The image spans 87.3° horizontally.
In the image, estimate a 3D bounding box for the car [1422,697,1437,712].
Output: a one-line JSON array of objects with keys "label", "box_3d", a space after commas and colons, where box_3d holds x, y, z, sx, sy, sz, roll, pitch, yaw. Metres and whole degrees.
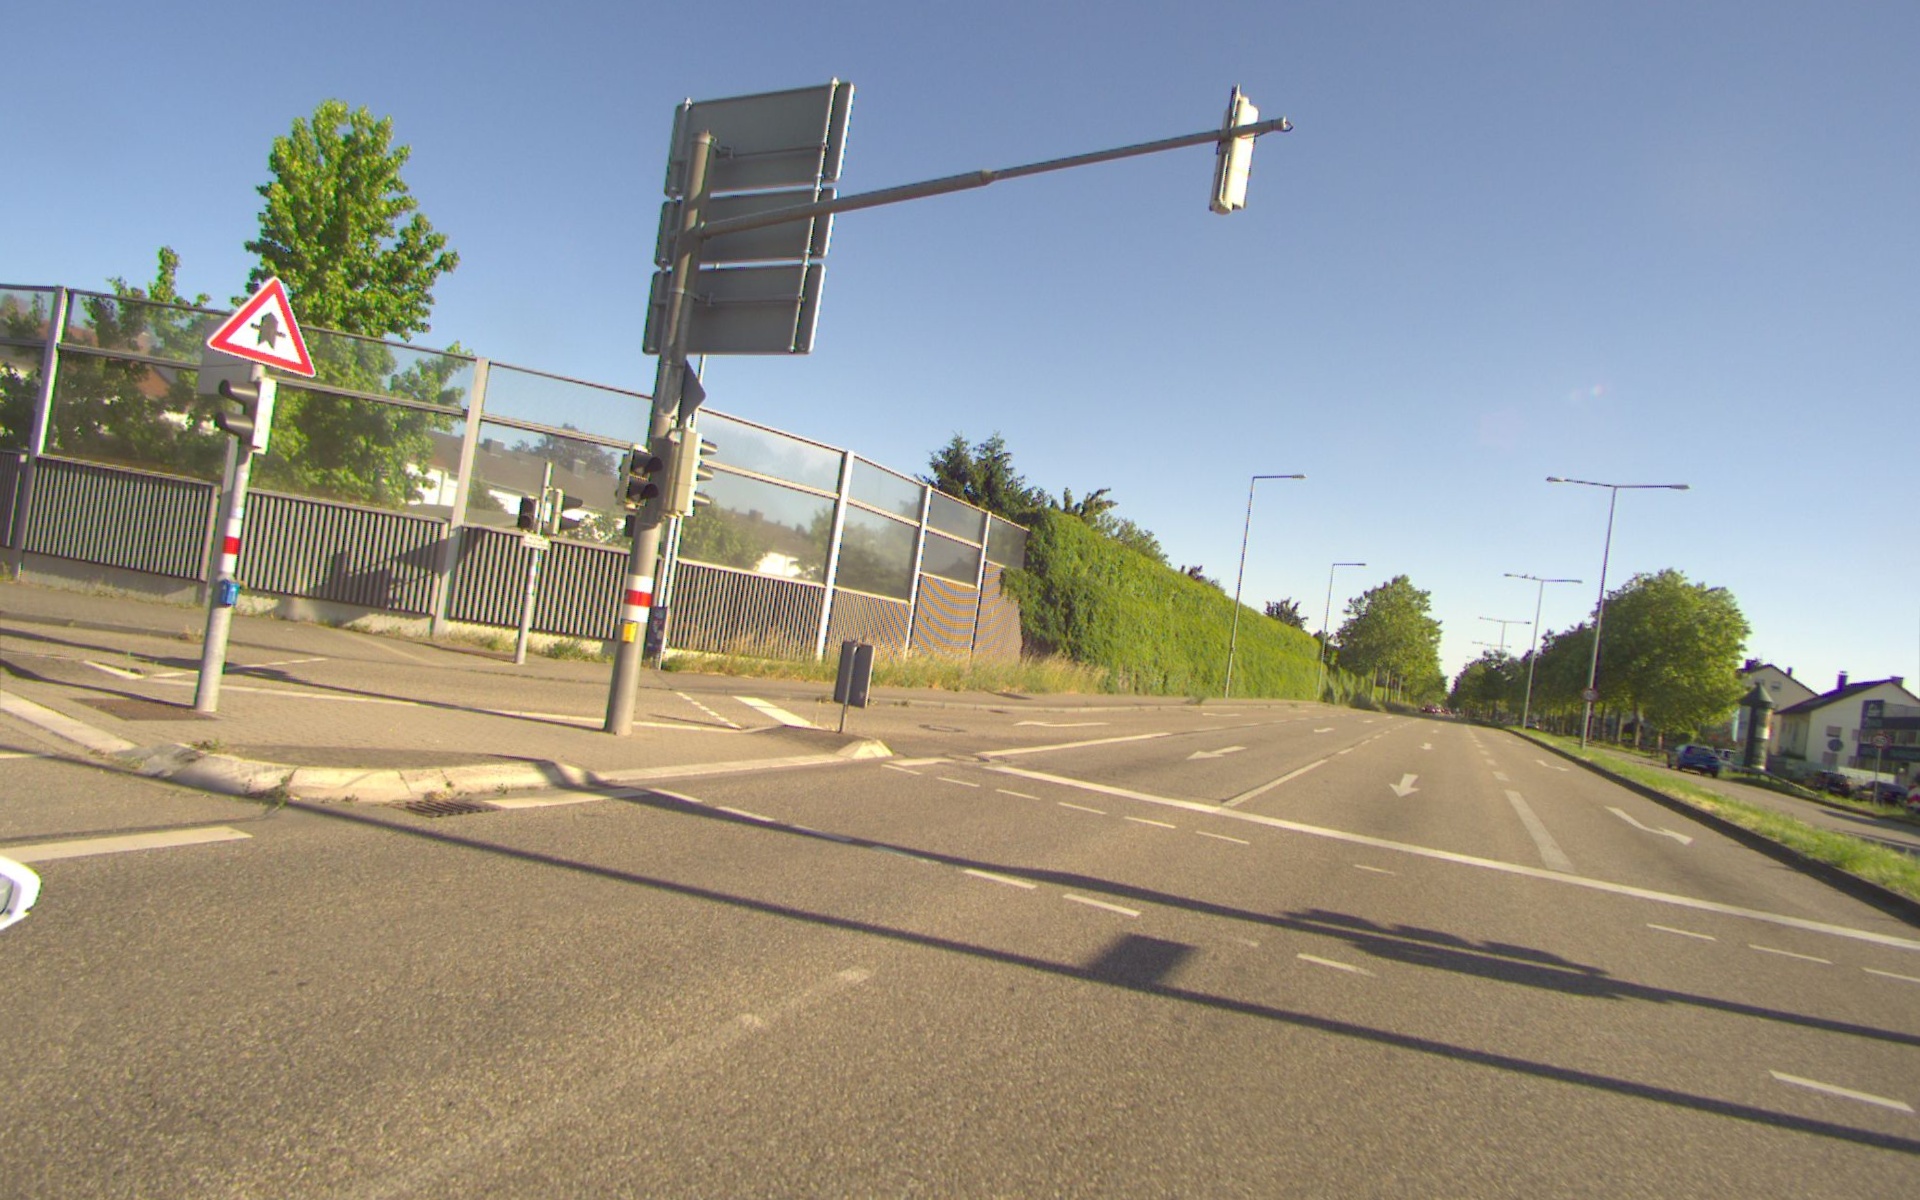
[{"label": "car", "box_3d": [70.811, 15.772, 151.695, 1.637, 1.932, 4.001, 8, -1, 23]}]

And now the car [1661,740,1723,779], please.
[{"label": "car", "box_3d": [38.096, 8.261, 52.434, 1.706, 1.457, 3.793, 9, -1, 25]}]

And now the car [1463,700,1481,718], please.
[{"label": "car", "box_3d": [78.196, 16.655, 153.654, 1.809, 2.319, 4.001, 8, -1, 23]}]

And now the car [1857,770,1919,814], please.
[{"label": "car", "box_3d": [51.038, 10.478, 54.894, 1.965, 1.837, 4.002, 9, -3, 27]}]

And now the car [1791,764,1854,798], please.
[{"label": "car", "box_3d": [55.012, 11.502, 64.227, 1.965, 1.609, 4.002, 9, -3, 27]}]

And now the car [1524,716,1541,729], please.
[{"label": "car", "box_3d": [86.890, 18.538, 152.705, 1.826, 1.610, 3.998, 9, -1, 27]}]

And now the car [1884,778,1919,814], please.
[{"label": "car", "box_3d": [49.016, 10.084, 50.996, 1.965, 1.613, 4.002, 9, -3, 27]}]
